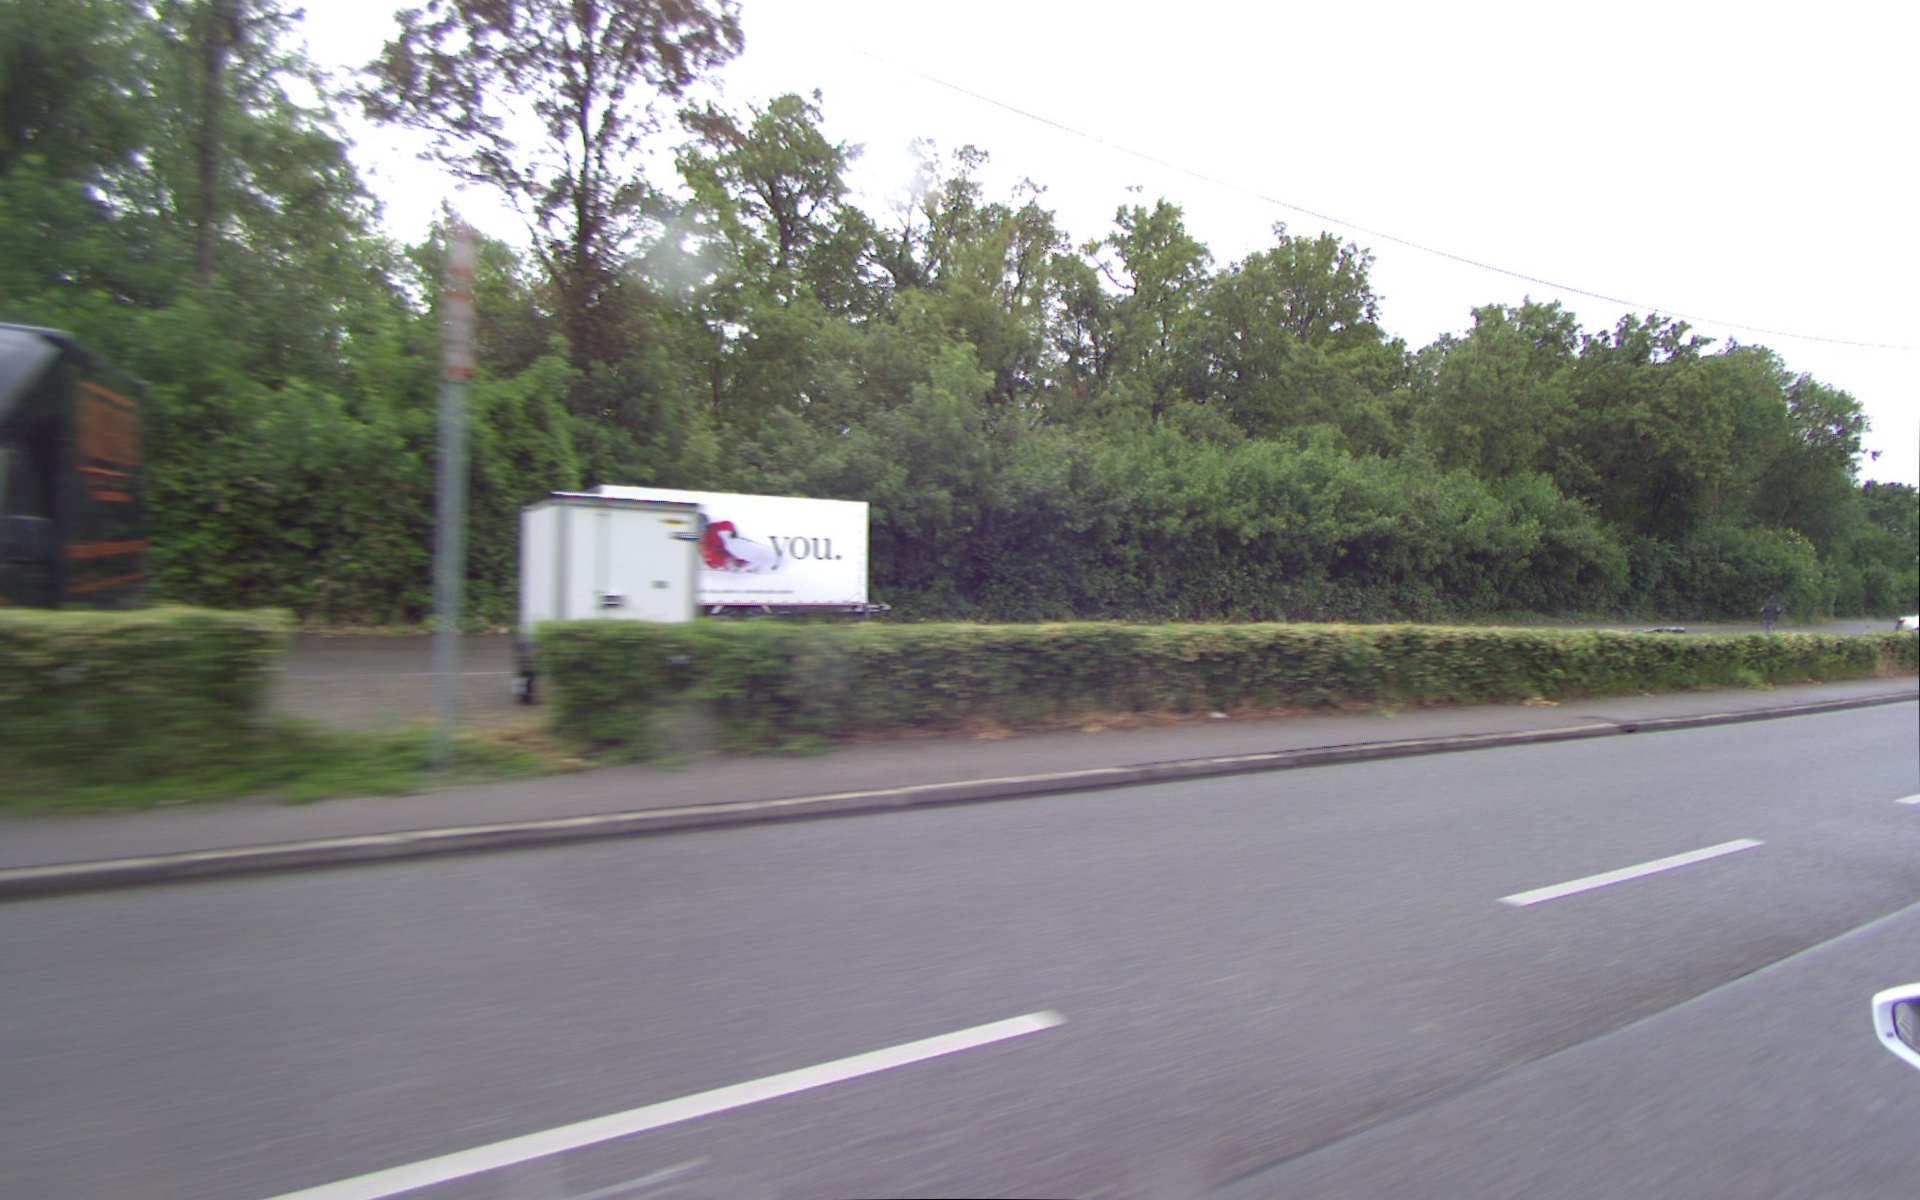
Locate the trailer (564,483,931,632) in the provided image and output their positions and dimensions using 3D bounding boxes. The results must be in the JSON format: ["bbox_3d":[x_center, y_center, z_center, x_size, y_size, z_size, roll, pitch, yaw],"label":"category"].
[{"bbox_3d":[-4.675,-0.800,23.104,7.895,2.912,2.460,1,1,-34],"label":"trailer"}]

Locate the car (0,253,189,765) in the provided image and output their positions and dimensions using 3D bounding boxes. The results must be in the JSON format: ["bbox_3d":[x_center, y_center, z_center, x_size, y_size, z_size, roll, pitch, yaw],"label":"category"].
[{"bbox_3d":[-8.425,-0.694,8.264,2.723,3.155,6.234,2,1,-33],"label":"car"}]

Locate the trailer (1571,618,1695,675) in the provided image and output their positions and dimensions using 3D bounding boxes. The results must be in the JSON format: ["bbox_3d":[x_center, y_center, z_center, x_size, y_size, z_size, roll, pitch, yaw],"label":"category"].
[{"bbox_3d":[14.021,0.945,20.961,1.321,1.048,1.788,1,2,-37],"label":"trailer"}]

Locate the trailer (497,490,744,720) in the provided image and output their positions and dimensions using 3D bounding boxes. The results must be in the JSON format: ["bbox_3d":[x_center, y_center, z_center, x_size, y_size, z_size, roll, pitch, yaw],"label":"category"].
[{"bbox_3d":[-3.968,0.022,11.276,1.851,2.080,3.967,1,1,-30],"label":"trailer"}]

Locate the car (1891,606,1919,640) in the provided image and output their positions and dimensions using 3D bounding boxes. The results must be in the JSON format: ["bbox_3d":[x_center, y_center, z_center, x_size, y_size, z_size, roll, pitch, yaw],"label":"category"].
[{"bbox_3d":[46.321,1.158,46.577,1.987,1.526,4.528,1,2,-45],"label":"car"}]

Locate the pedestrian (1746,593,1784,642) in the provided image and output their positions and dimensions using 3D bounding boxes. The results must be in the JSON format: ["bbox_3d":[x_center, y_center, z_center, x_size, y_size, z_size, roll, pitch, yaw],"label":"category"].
[{"bbox_3d":[30.806,0.670,38.426,1.124,1.822,0.811,1,2,-36],"label":"pedestrian"}]
